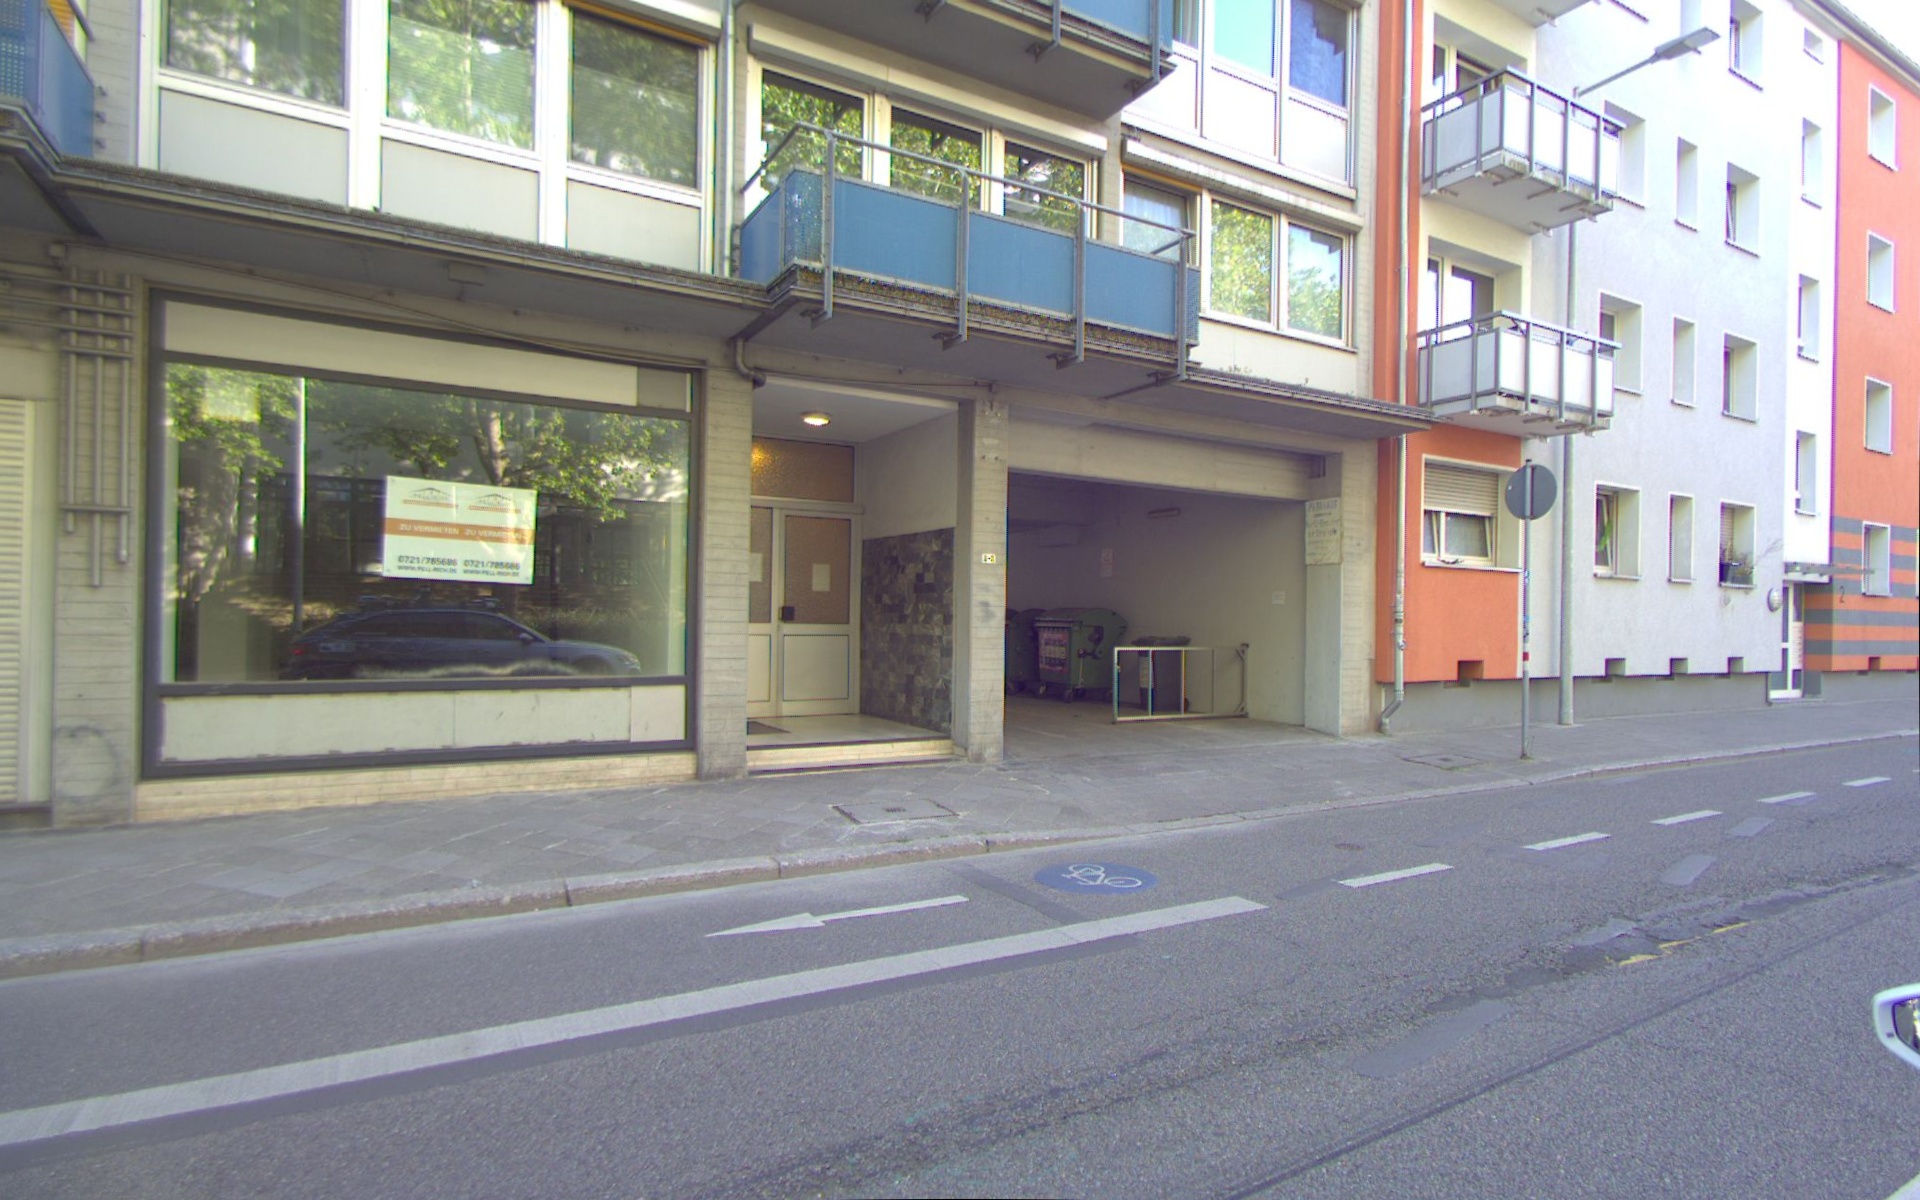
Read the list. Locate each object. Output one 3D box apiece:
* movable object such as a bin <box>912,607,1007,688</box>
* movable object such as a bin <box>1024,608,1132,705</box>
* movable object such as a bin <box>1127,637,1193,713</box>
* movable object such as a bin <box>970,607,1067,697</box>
[{"bbox_3d":[-0.036,0.861,18.884,1.119,1.449,1.666,1,0,-28],"label":"movable object such as a bin"},{"bbox_3d":[1.844,0.859,15.858,1.128,1.449,1.342,1,0,-28],"label":"movable object such as a bin"},{"bbox_3d":[2.893,1.072,14.540,0.695,1.055,0.593,2,0,-30],"label":"movable object such as a bin"},{"bbox_3d":[0.992,0.864,17.181,1.119,1.449,1.322,1,0,-28],"label":"movable object such as a bin"}]
